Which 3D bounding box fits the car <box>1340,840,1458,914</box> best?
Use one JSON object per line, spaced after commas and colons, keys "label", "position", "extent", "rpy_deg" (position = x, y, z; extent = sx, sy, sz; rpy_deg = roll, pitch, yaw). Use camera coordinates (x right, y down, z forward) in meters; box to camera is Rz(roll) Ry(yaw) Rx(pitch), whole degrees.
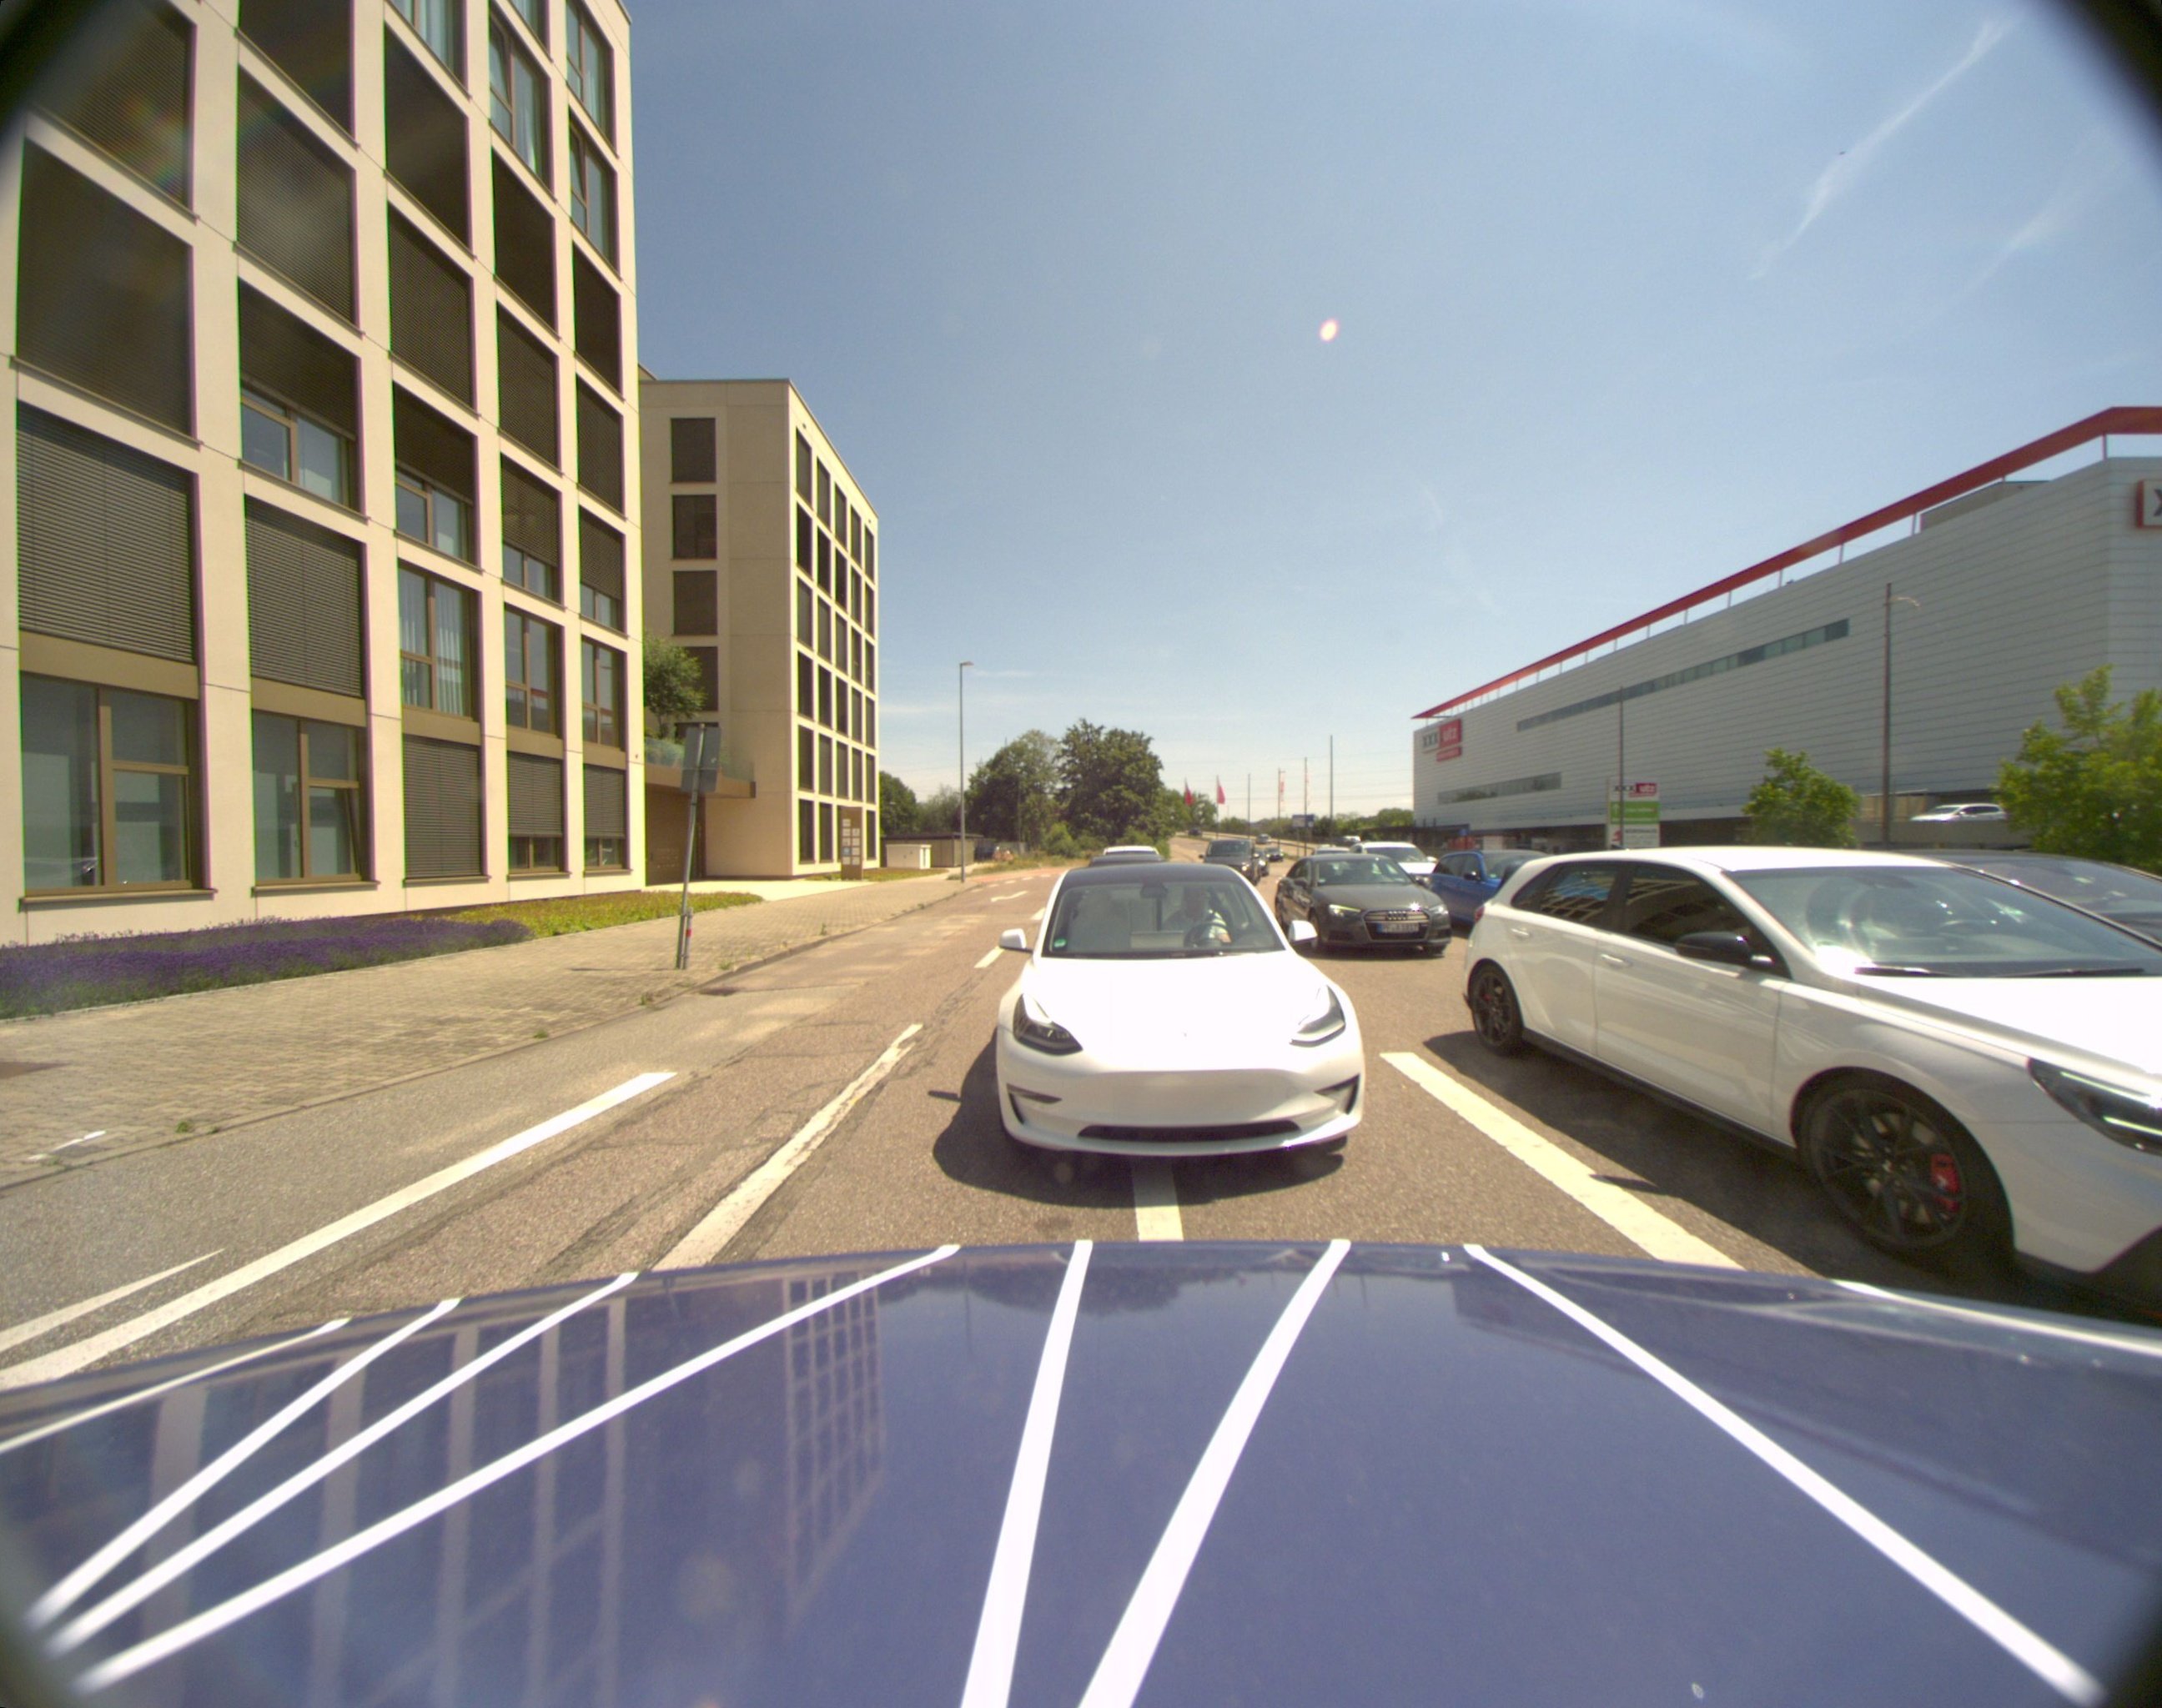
{"label": "car", "position": [7.997, 0.509, 19.540], "extent": [1.768, 1.632, 4.494], "rpy_deg": [-2, 1, 9]}

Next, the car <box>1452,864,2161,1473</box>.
{"label": "car", "position": [3.676, 0.835, 3.670], "extent": [1.792, 1.428, 4.070], "rpy_deg": [-2, 1, 1]}

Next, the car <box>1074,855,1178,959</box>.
{"label": "car", "position": [0.828, 0.797, 13.386], "extent": [1.556, 1.528, 3.822], "rpy_deg": [0, 1, 5]}

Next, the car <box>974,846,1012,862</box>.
{"label": "car", "position": [-9.172, -0.018, 79.187], "extent": [3.834, 1.543, 1.736], "rpy_deg": [0, 1, -13]}

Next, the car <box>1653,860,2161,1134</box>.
{"label": "car", "position": [6.617, 0.775, 5.495], "extent": [1.675, 1.396, 4.467], "rpy_deg": [-2, 0, 2]}

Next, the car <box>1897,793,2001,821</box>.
{"label": "car", "position": [51.444, -2.763, 45.088], "extent": [3.995, 1.499, 1.718], "rpy_deg": [0, 1, 5]}

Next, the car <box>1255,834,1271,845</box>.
{"label": "car", "position": [29.919, -2.323, 125.082], "extent": [1.866, 1.713, 4.044], "rpy_deg": [0, 0, 4]}

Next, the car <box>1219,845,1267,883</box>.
{"label": "car", "position": [7.560, 0.429, 35.194], "extent": [1.811, 1.630, 4.005], "rpy_deg": [0, 1, 18]}

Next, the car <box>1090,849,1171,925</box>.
{"label": "car", "position": [1.245, 0.713, 18.668], "extent": [1.777, 1.600, 3.821], "rpy_deg": [0, 1, 5]}

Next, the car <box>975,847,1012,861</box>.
{"label": "car", "position": [-9.365, 0.005, 81.147], "extent": [3.834, 1.386, 1.736], "rpy_deg": [0, 1, -13]}

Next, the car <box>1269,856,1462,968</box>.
{"label": "car", "position": [4.134, 0.752, 11.762], "extent": [1.769, 1.374, 4.091], "rpy_deg": [0, 1, 5]}

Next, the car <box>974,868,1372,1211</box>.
{"label": "car", "position": [0.463, 0.919, 5.716], "extent": [1.823, 1.428, 4.284], "rpy_deg": [-2, 1, 1]}

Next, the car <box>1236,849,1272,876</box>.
{"label": "car", "position": [9.905, 0.449, 43.420], "extent": [1.606, 1.431, 3.738], "rpy_deg": [0, 1, 19]}

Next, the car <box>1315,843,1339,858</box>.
{"label": "car", "position": [27.888, -0.389, 86.127], "extent": [1.865, 1.713, 4.045], "rpy_deg": [0, 1, 8]}

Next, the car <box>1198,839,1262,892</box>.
{"label": "car", "position": [5.709, 0.365, 28.631], "extent": [1.893, 1.811, 4.842], "rpy_deg": [0, 1, 17]}

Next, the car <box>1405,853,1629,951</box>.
{"label": "car", "position": [7.328, 0.708, 13.350], "extent": [1.768, 1.395, 4.433], "rpy_deg": [-2, 0, 7]}

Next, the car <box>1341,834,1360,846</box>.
{"label": "car", "position": [52.001, -2.686, 146.549], "extent": [2.191, 2.270, 4.814], "rpy_deg": [0, 1, 4]}

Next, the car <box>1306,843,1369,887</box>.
{"label": "car", "position": [9.126, 0.370, 27.257], "extent": [1.767, 1.414, 3.903], "rpy_deg": [-2, 0, 14]}

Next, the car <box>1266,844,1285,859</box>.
{"label": "car", "position": [21.679, -0.301, 84.784], "extent": [1.724, 1.543, 4.002], "rpy_deg": [-1, 0, 9]}
